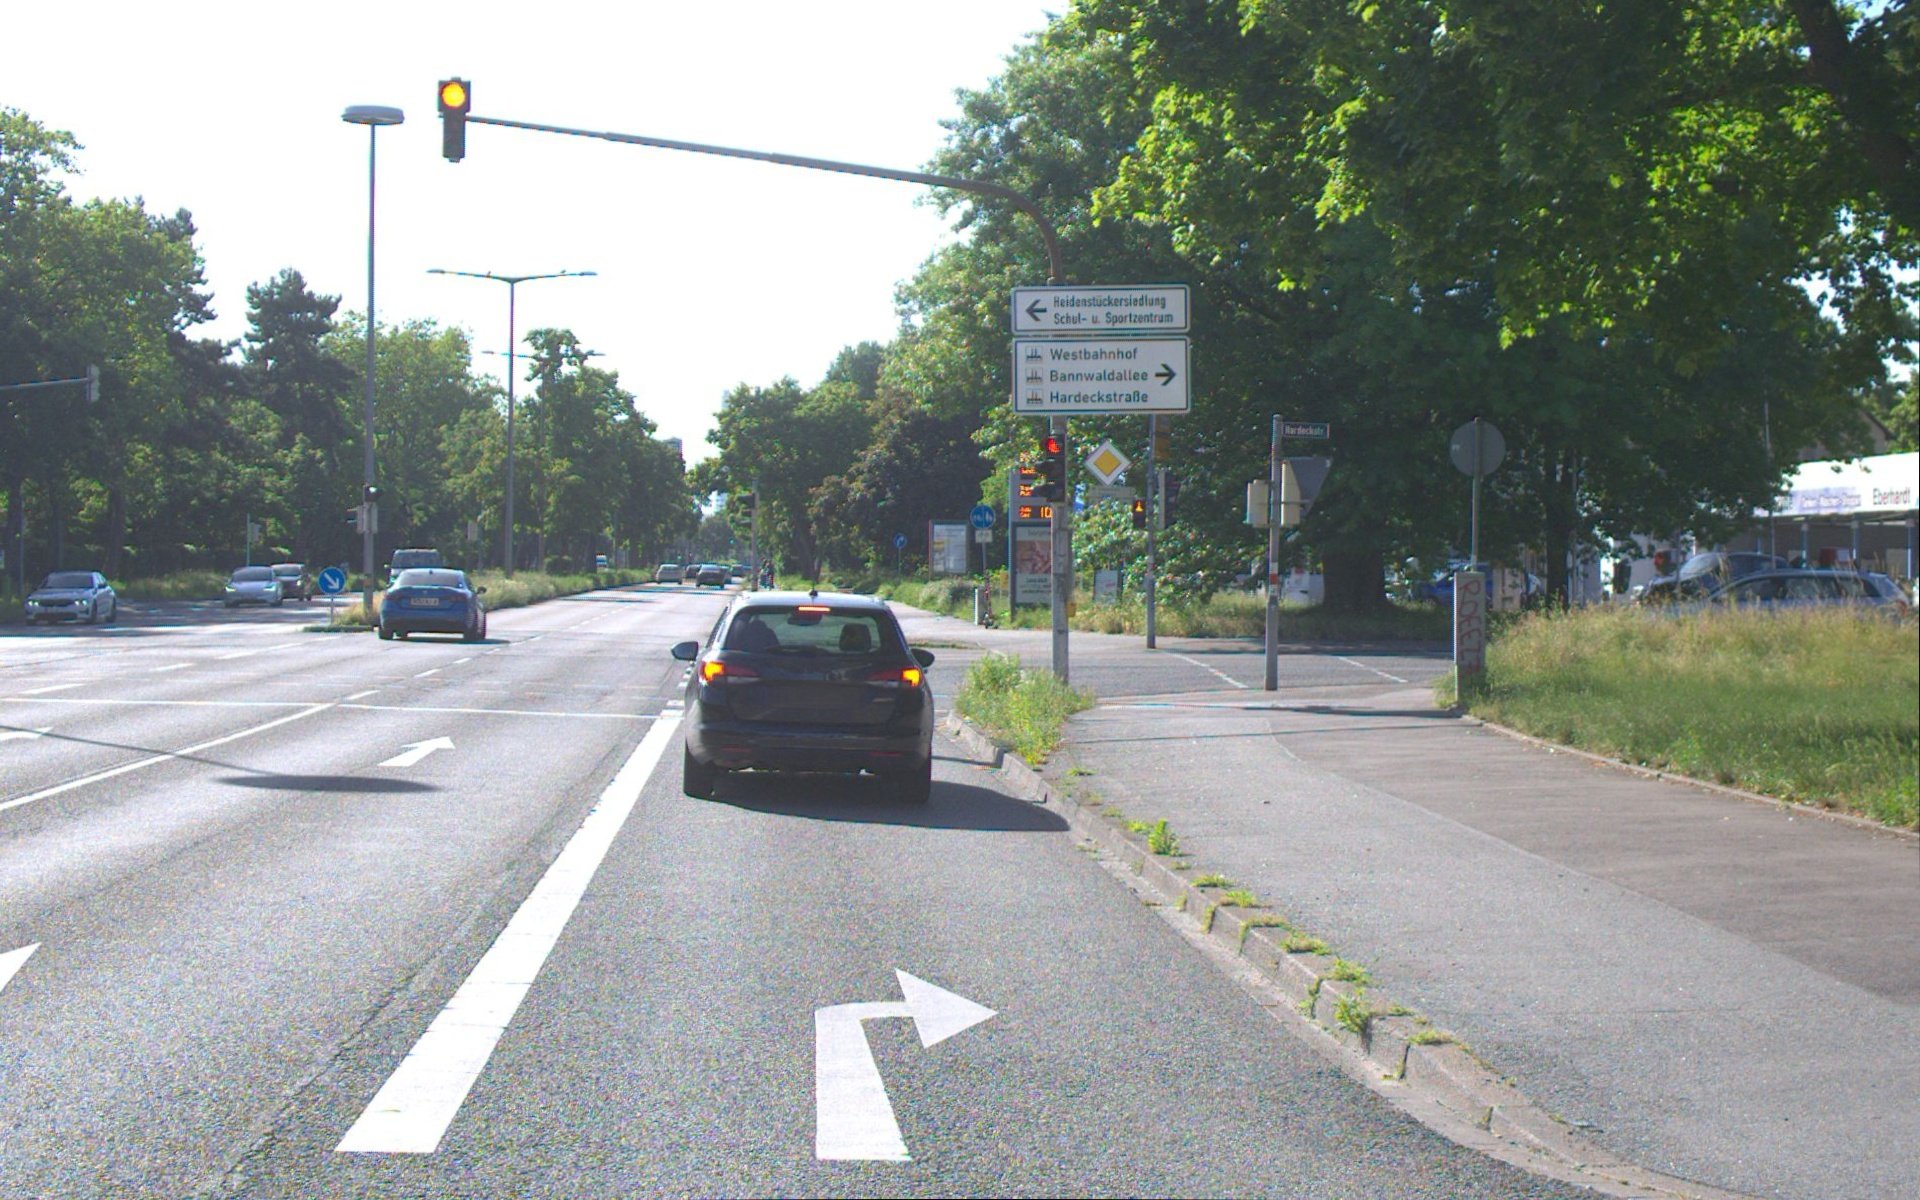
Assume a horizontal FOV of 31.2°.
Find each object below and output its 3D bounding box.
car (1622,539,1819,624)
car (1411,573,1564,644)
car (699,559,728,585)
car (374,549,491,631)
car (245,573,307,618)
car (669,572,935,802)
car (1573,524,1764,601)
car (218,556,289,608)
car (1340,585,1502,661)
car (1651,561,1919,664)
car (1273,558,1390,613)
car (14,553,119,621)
[{"bbox_3d":[16.859,-0.402,76.194,3.834,1.606,1.805,4,-1,-22],"label":"car"},{"bbox_3d":[14.272,0.245,93.105,3.711,1.679,1.704,4,-1,-6],"label":"car"},{"bbox_3d":[-16.307,-1.839,227.617,1.732,1.579,3.840,4,-1,-3],"label":"car"},{"bbox_3d":[-10.465,-0.174,68.447,1.888,1.547,4.000,1,-1,-3],"label":"car"},{"bbox_3d":[-28.115,-0.161,141.468,1.864,1.678,4.000,4,-1,-3],"label":"car"},{"bbox_3d":[-1.185,0.590,25.335,1.755,1.504,3.809,2,0,-3],"label":"car"},{"bbox_3d":[16.102,-0.854,78.149,3.834,1.477,1.805,4,-1,-22],"label":"car"},{"bbox_3d":[-25.573,-0.631,124.521,1.864,1.678,4.000,4,-1,-3],"label":"car"},{"bbox_3d":[11.726,0.577,87.335,3.711,1.679,1.704,4,-1,-29],"label":"car"},{"bbox_3d":[13.867,0.211,56.908,4.620,1.569,1.999,1,-1,8],"label":"car"},{"bbox_3d":[12.995,-0.513,120.345,3.711,1.679,1.704,4,-1,-6],"label":"car"},{"bbox_3d":[-24.350,-0.329,93.799,1.864,1.678,4.260,4,-1,-3],"label":"car"}]
